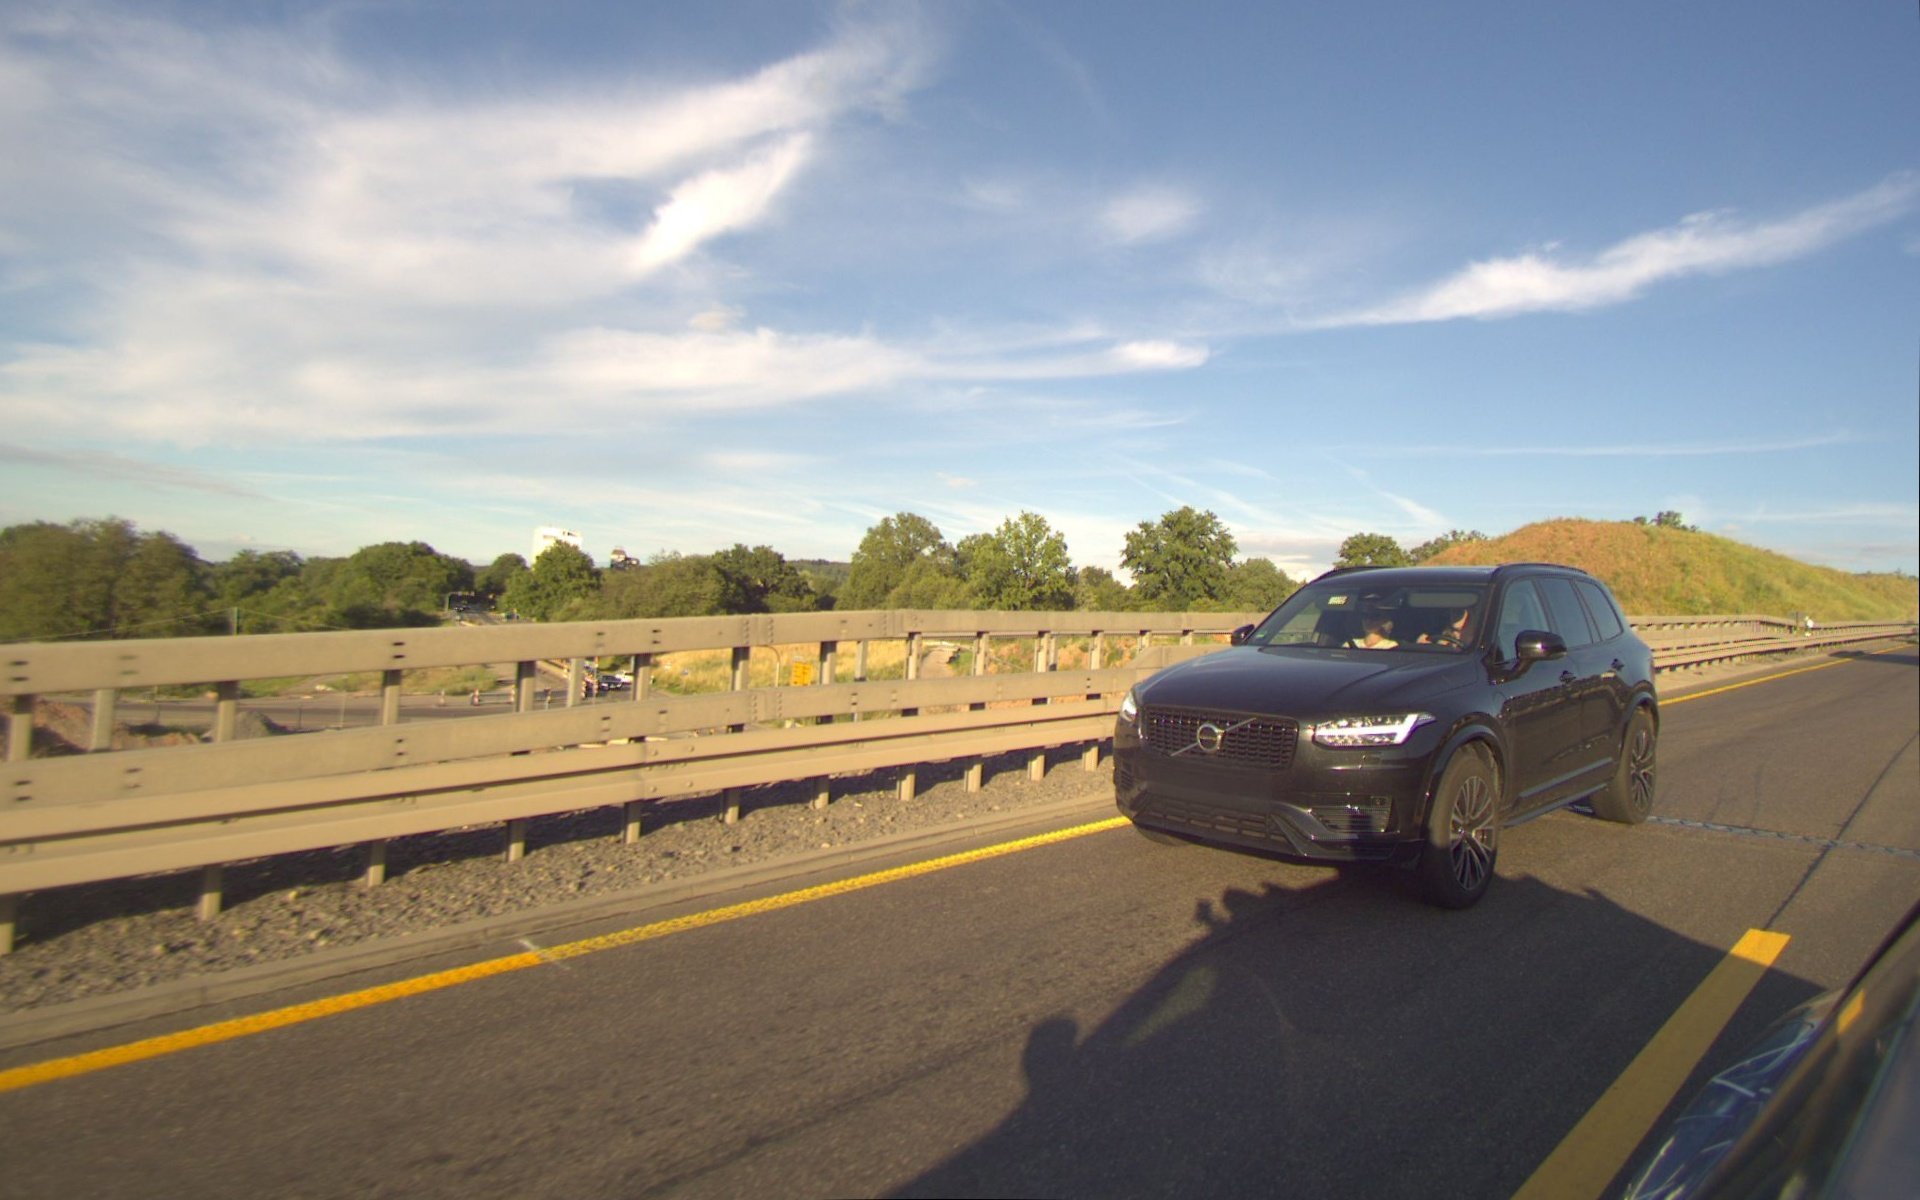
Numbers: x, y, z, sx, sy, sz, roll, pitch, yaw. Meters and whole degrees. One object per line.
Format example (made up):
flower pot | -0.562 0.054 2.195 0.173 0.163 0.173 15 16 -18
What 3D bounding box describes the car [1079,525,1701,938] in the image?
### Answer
car | 3.073 0.575 6.592 4.803 1.735 1.900 1 -1 -42
